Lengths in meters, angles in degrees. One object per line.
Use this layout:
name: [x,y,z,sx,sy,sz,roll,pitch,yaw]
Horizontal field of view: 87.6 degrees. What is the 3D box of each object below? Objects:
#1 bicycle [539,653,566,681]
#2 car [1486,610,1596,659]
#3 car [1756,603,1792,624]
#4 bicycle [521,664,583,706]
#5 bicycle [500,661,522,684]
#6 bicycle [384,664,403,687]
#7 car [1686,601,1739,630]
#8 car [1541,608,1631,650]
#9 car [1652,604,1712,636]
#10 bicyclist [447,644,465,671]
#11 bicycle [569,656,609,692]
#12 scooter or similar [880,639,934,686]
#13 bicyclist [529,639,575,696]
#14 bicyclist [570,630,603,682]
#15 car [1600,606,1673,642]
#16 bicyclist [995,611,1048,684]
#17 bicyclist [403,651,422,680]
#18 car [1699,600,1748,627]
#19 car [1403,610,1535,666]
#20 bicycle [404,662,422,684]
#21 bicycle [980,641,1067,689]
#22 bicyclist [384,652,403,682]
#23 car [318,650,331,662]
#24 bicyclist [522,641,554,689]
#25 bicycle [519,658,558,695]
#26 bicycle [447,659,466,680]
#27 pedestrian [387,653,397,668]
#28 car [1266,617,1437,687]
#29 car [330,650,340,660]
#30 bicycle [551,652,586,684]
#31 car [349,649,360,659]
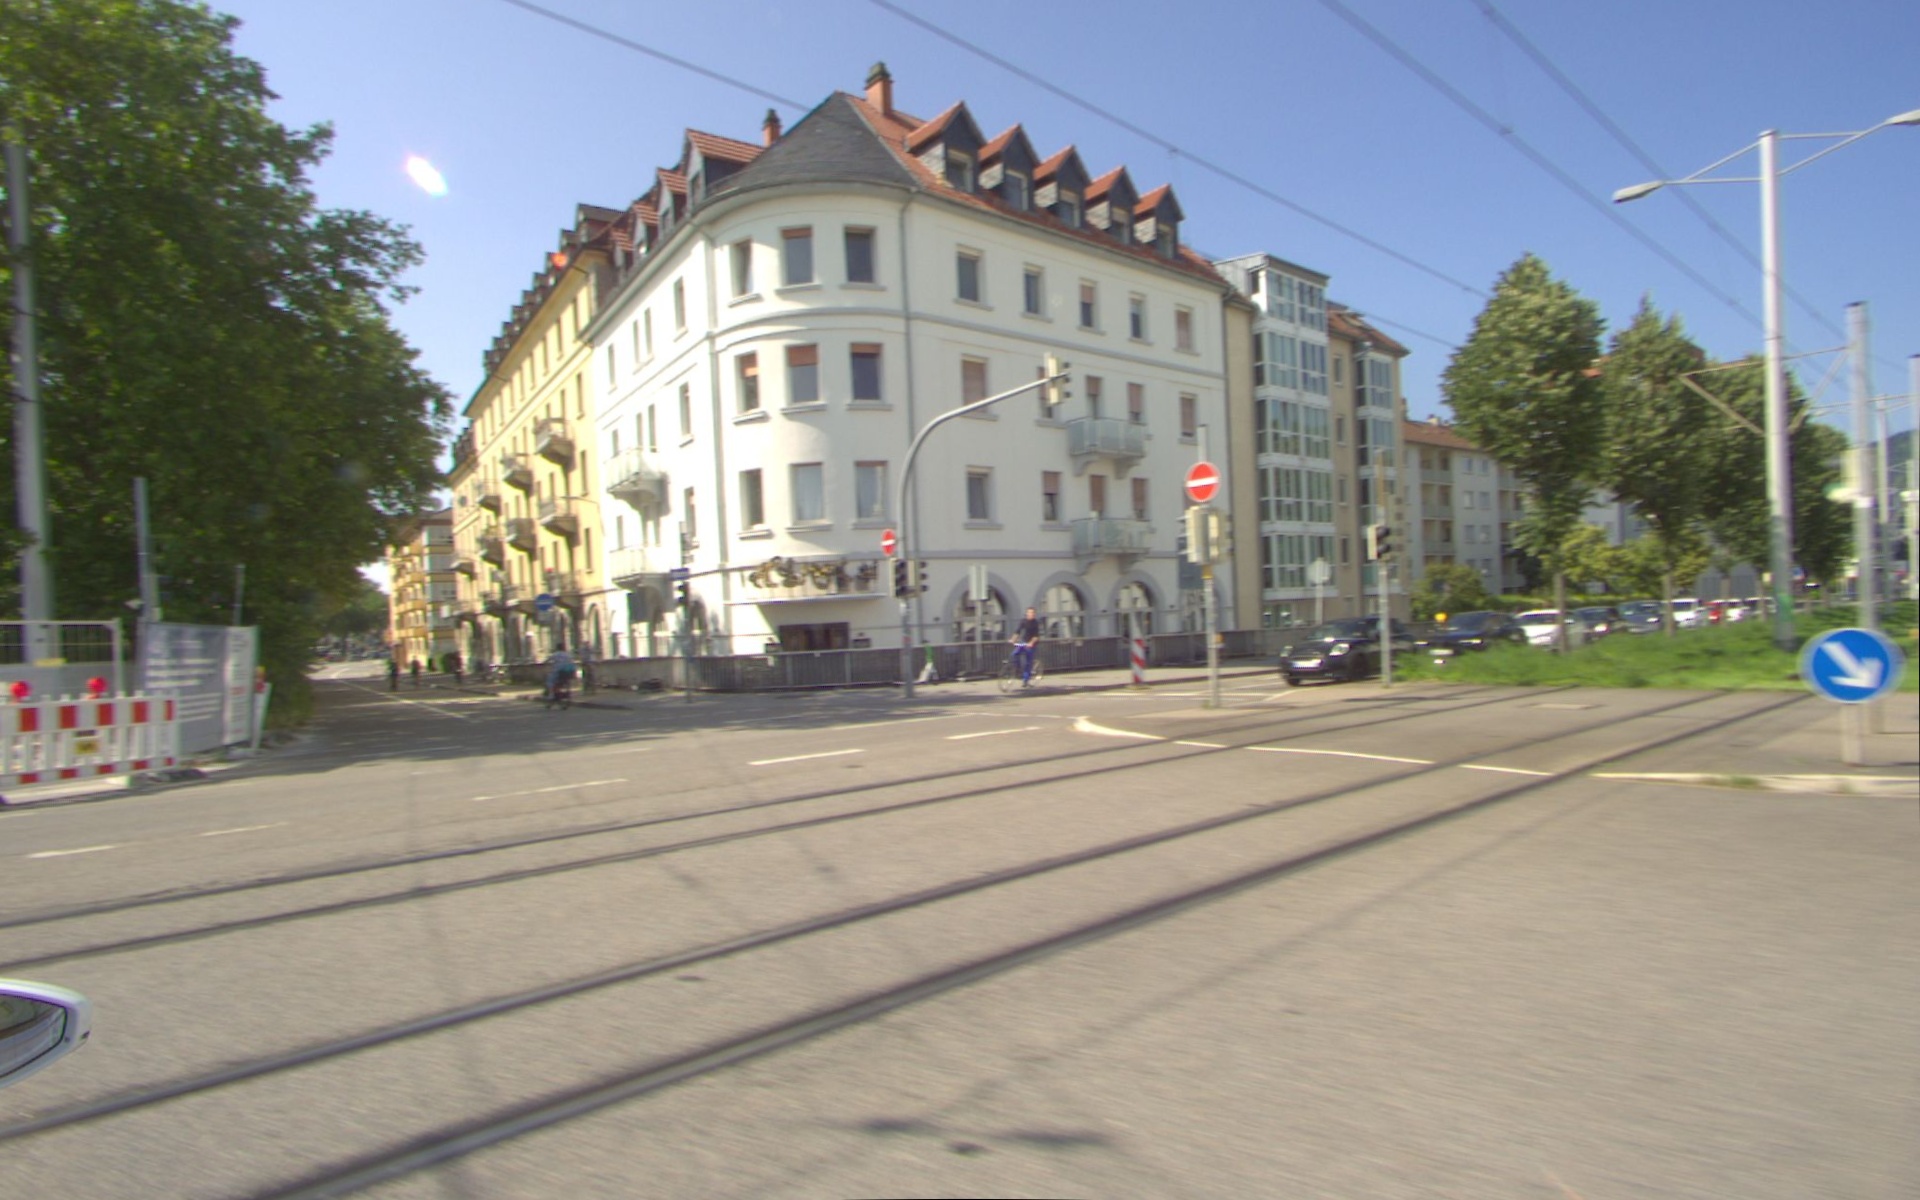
bicycle: [-17.088,2.801,41.964,0.673,1.089,2.280,-1,-1,-32]
car: [18.078,1.049,31.089,3.957,1.371,1.753,0,-3,-42]
car: [58.804,0.959,72.322,1.750,1.371,3.965,-4,-3,42]
bicycle: [-10.654,2.198,26.101,0.858,1.002,2.228,0,-2,-40]
bicycle: [-22.662,3.629,50.511,0.673,1.089,2.280,-1,-1,-32]
bicycle: [-30.051,3.975,53.131,0.828,1.151,2.846,-1,-2,-30]
car: [38.234,0.790,50.863,1.750,1.371,3.965,-4,-3,42]
car: [22.449,1.021,35.846,3.960,1.371,1.752,0,-3,-44]
car: [32.889,0.900,45.590,1.750,1.371,3.965,-4,-3,42]
bicyclist: [-29.183,3.336,58.001,0.828,1.557,1.019,-1,-2,-31]
bicycle: [-11.604,2.305,31.288,0.701,1.004,1.807,-4,1,-35]
scooter or similar: [-1.326,1.563,25.148,1.283,1.132,0.338,-1,0,-21]
bicyclist: [-10.606,1.745,26.031,0.858,1.433,0.910,-1,-2,-41]
bicyclist: [-11.693,1.745,31.360,0.701,1.570,0.779,-4,1,-36]
car: [27.657,0.962,40.866,1.751,1.371,3.963,-4,-3,44]
bicyclist: [1.449,1.126,23.798,0.992,1.674,0.807,0,-2,-21]
bicyclist: [-30.347,3.640,55.500,0.828,1.557,1.019,-1,-2,-31]
car: [41.746,0.735,54.731,1.750,1.371,3.965,-4,-3,42]
car: [13.767,1.012,27.007,3.956,1.371,1.754,0,-3,-41]
bicycle: [-30.341,4.053,55.524,0.828,1.151,2.845,-1,-2,-30]
bicycle: [1.506,1.527,23.792,1.879,1.033,0.820,-1,-1,-20]
bicyclist: [-30.118,3.545,53.211,0.828,1.557,1.019,-1,-2,-31]
car: [-97.657,8.602,153.759,1.610,1.644,3.672,-1,-1,-34]
bicyclist: [-14.043,2.161,33.285,0.828,1.527,0.948,-1,-2,-31]
bicycle: [-14.068,2.531,33.372,0.828,1.151,2.845,-1,-2,-30]
bicycle: [-29.239,4.004,58.126,0.828,1.151,2.845,-1,-2,-30]
pedestrian: [-76.242,8.097,134.359,1.007,1.961,0.837,-1,-1,-25]
car: [8.705,1.116,22.138,3.953,1.338,1.755,0,-3,-39]
car: [-116.258,10.214,186.240,1.610,1.644,3.672,-1,-1,-34]
bicycle: [-15.039,2.591,38.414,0.828,1.151,2.845,-1,-2,-30]
car: [-113.780,10.096,188.291,1.610,1.644,3.672,-1,-1,-34]
